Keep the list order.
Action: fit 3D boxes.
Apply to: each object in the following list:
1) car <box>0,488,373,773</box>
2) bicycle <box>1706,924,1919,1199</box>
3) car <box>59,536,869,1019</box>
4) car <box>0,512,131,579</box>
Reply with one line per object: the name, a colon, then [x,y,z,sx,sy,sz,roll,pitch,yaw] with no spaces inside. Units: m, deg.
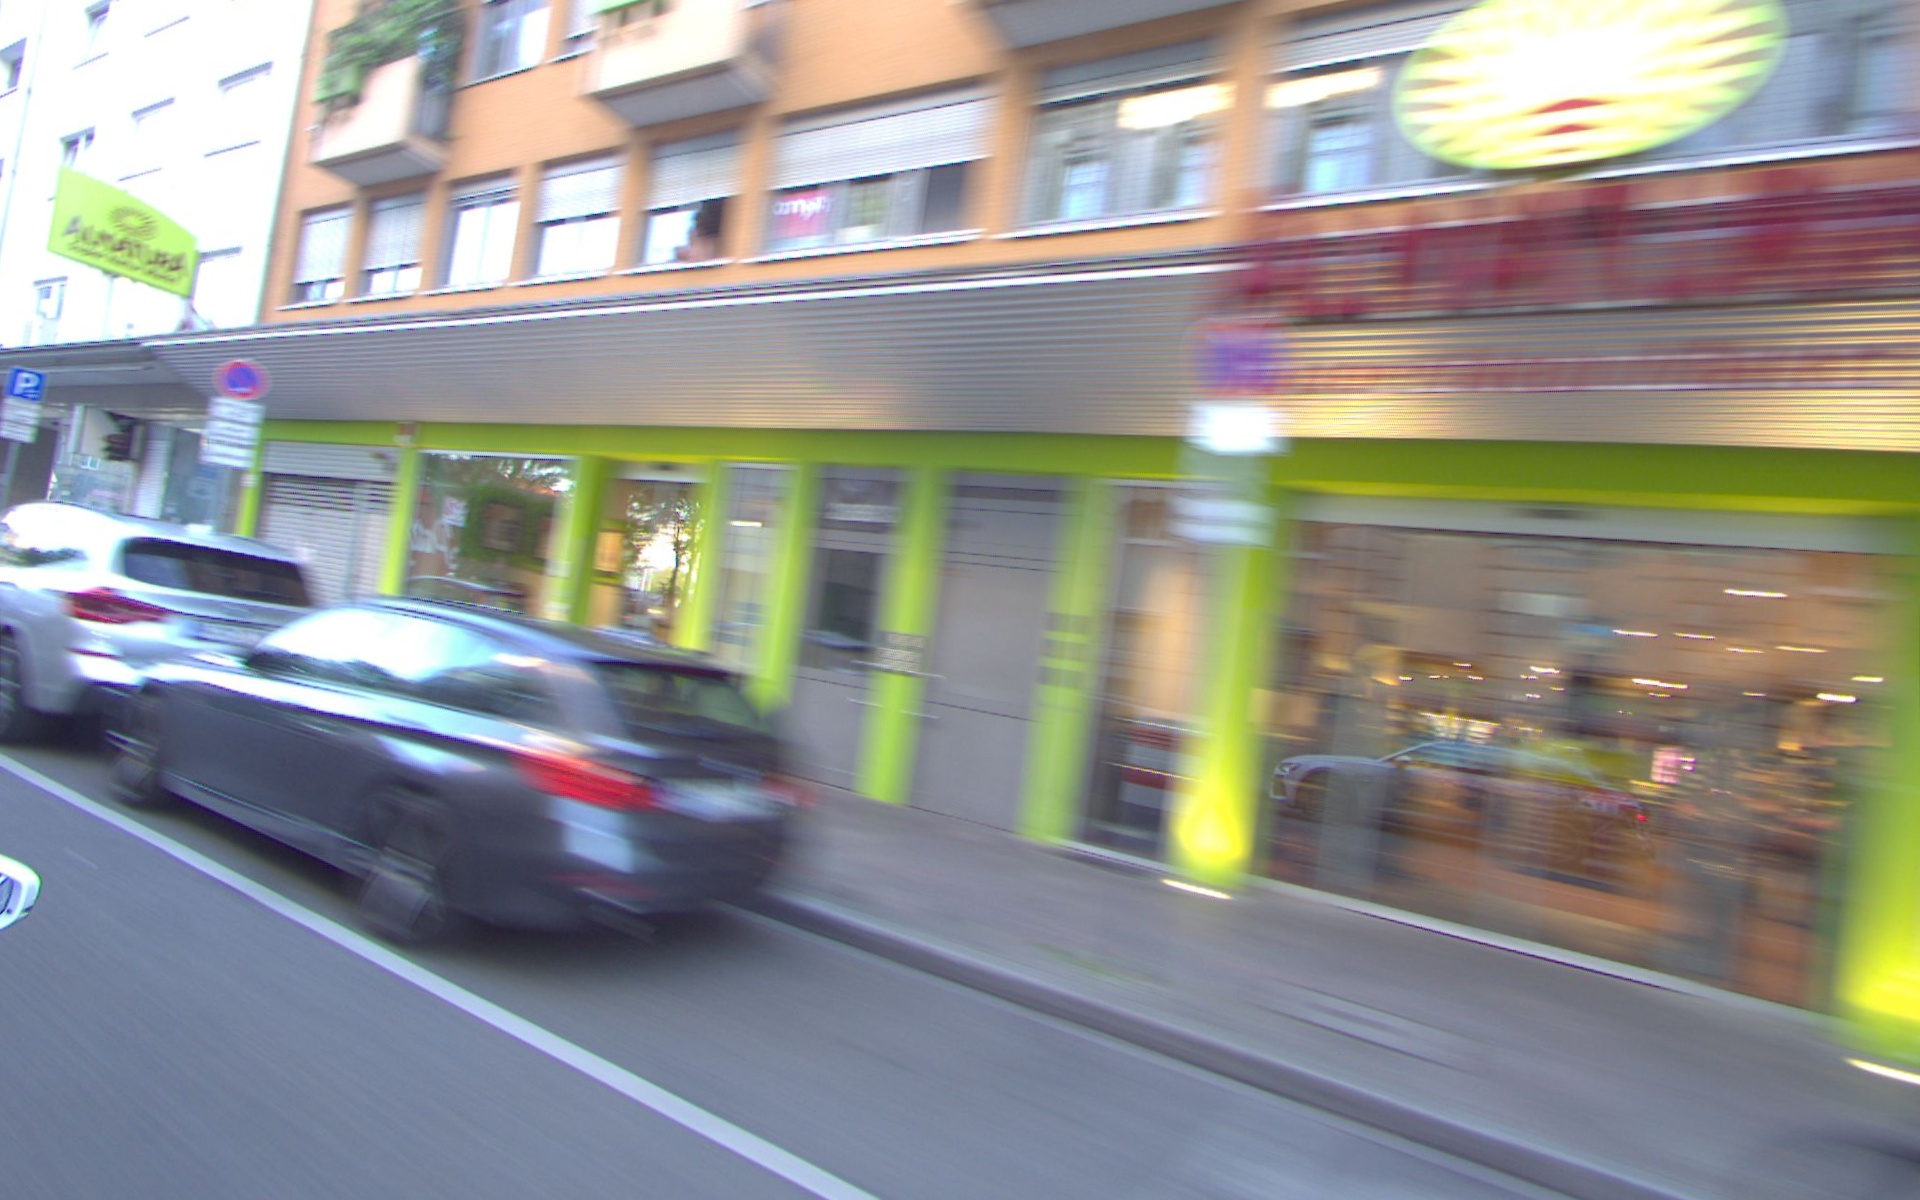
car: [-7.076,0.103,8.215,4.677,1.685,1.758,7,-5,32]
bicycle: [2.814,1.558,2.321,0.649,1.066,1.736,9,-4,-10]
car: [-2.971,0.693,5.630,4.677,1.429,1.697,7,-5,32]
car: [-25.674,-1.576,28.853,3.935,1.352,1.743,7,-2,34]
